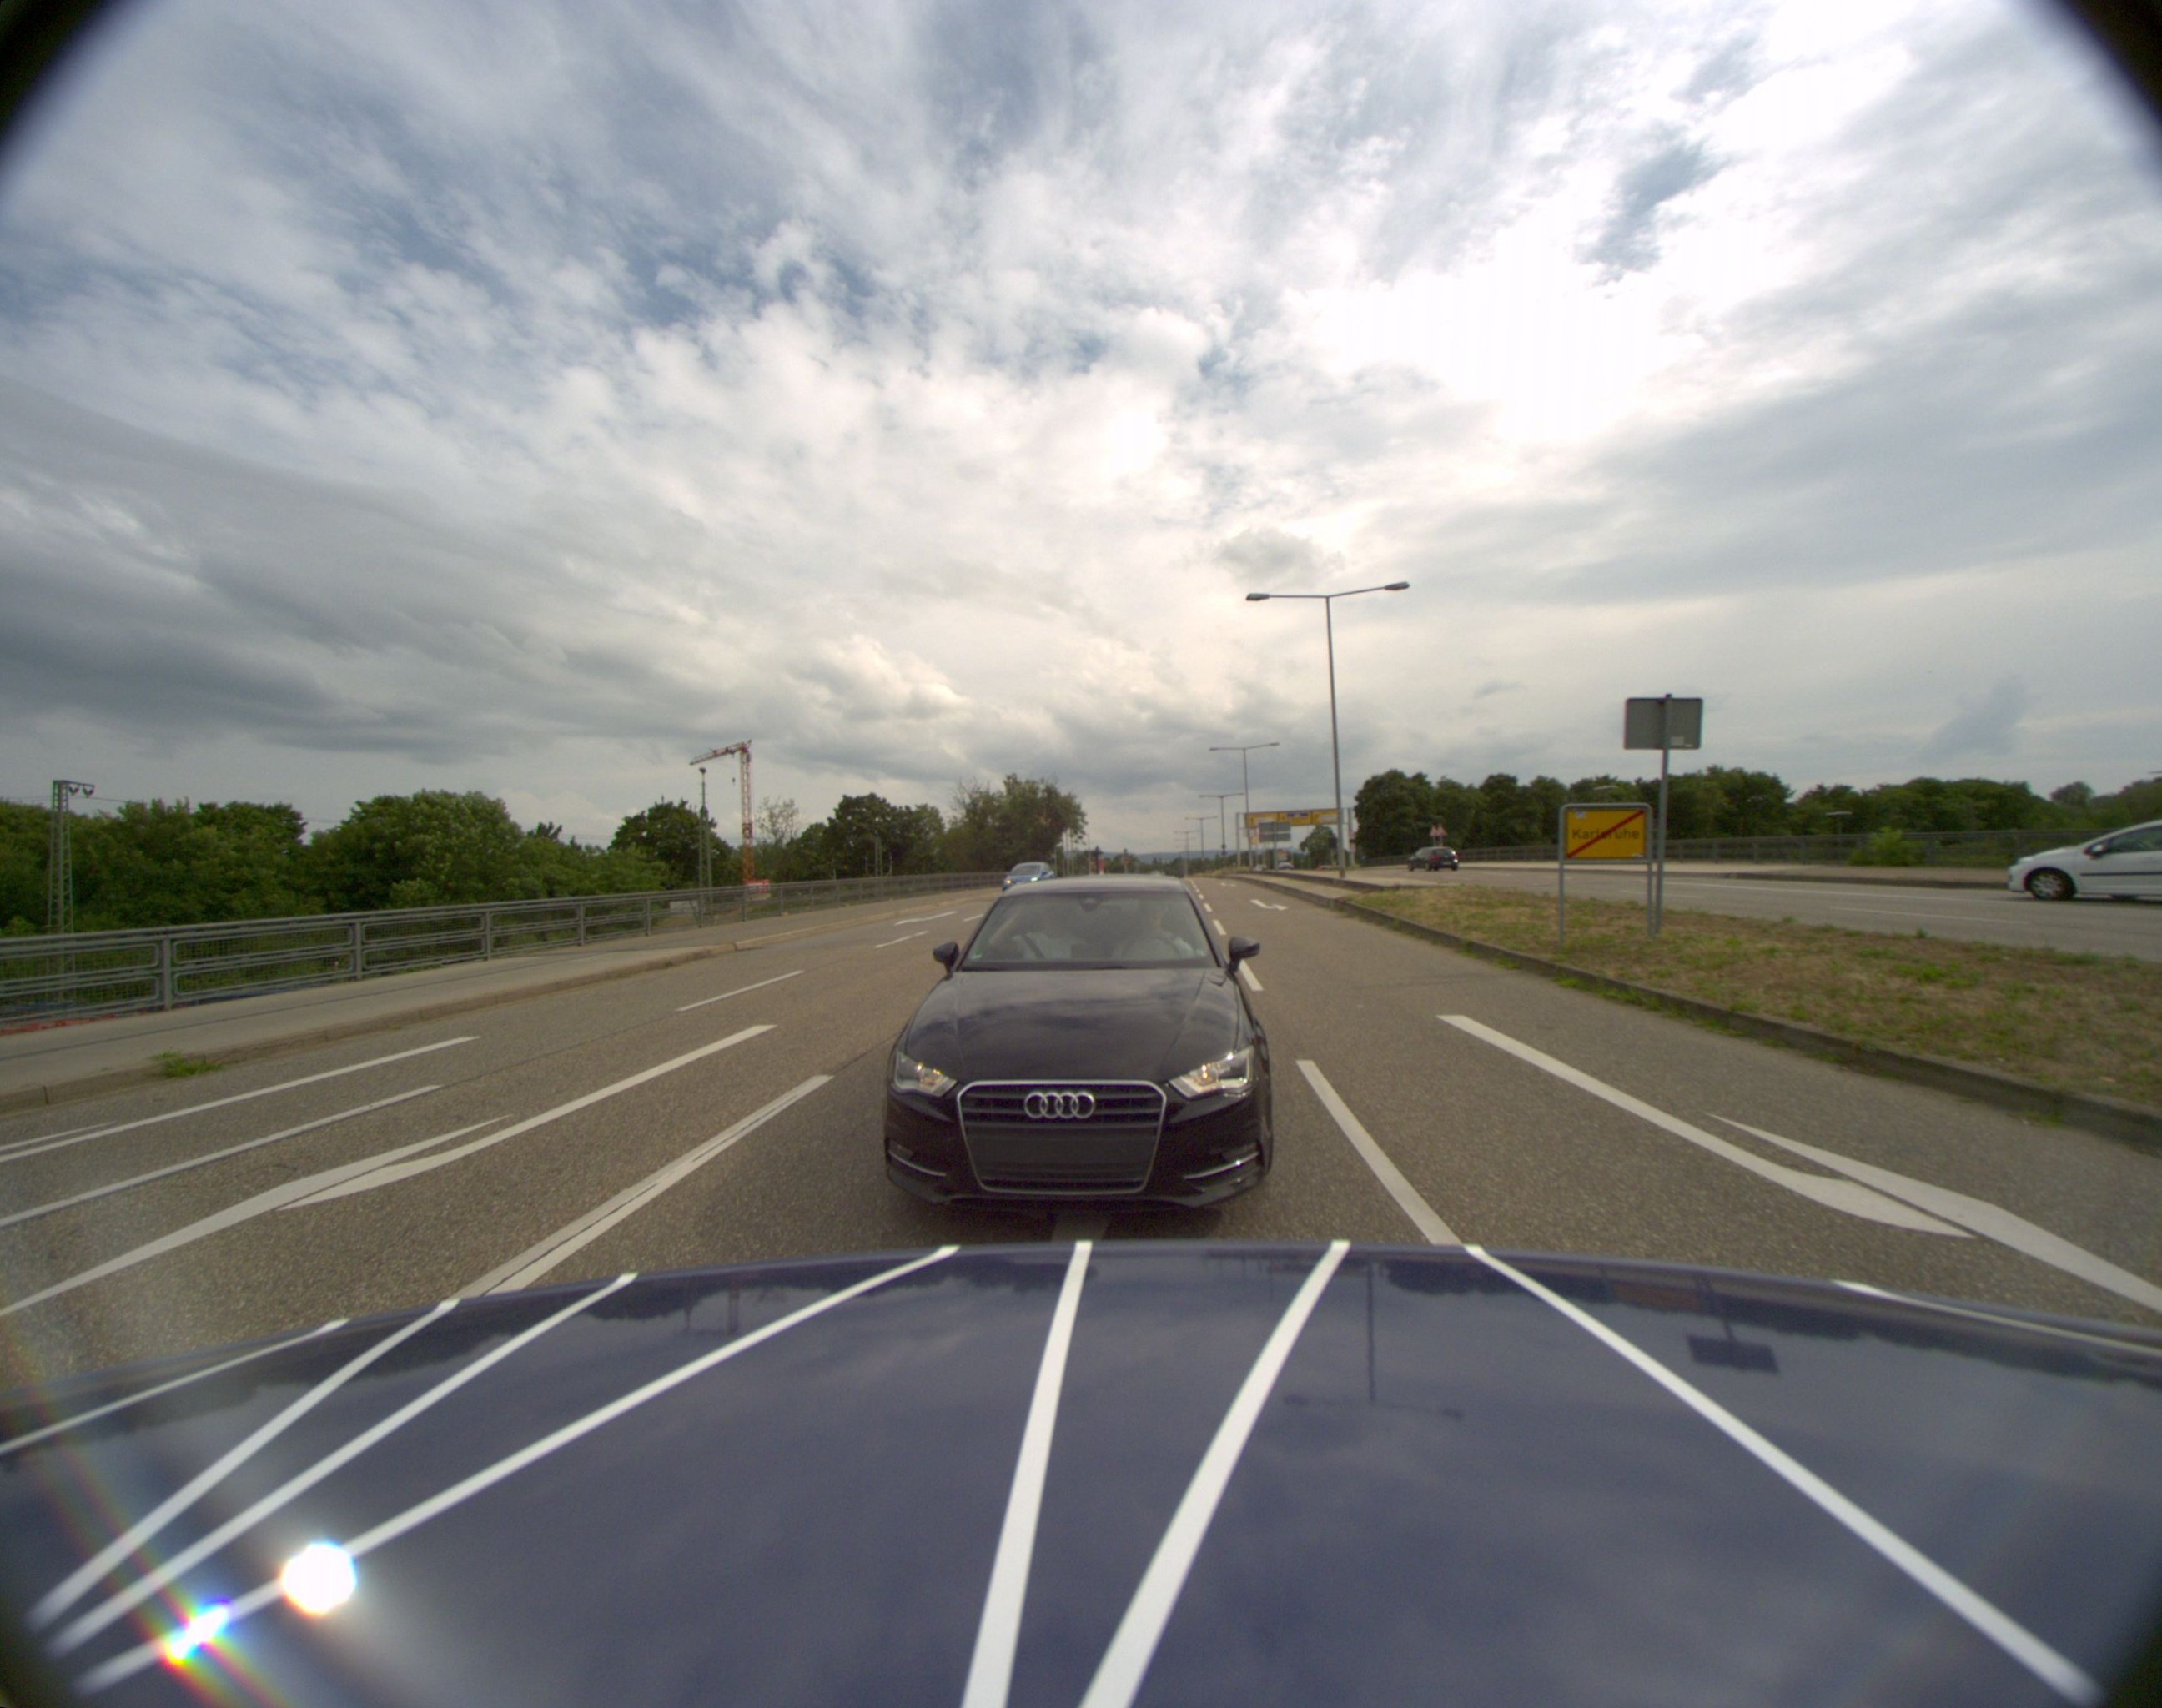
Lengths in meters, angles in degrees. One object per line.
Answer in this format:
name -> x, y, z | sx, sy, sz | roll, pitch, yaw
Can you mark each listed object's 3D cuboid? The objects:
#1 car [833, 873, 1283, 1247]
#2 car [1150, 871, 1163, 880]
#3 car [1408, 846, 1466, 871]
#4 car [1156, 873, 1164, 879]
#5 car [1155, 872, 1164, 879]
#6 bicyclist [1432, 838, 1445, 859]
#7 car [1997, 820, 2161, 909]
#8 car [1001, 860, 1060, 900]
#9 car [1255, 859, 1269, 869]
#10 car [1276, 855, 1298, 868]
car -> 0.155, 0.929, 5.528 | 1.851, 1.355, 4.731 | -2, 0, 7
car -> 12.447, 3.555, 125.217 | 1.860, 1.335, 4.002 | -2, 0, 7
car -> 21.476, 0.251, 46.004 | 1.796, 1.410, 4.001 | -2, 0, 4
car -> 21.236, 5.899, 204.135 | 1.860, 1.335, 4.002 | -2, 0, 7
car -> 18.135, 5.021, 176.046 | 1.860, 1.335, 4.002 | -2, 0, 7
bicyclist -> 28.561, -0.440, 60.727 | 0.685, 1.662, 0.848 | -3, 0, 8
car -> 18.511, 0.153, 12.630 | 1.731, 1.437, 3.874 | -2, 1, -6
car -> -2.182, 1.102, 33.933 | 1.724, 1.512, 3.952 | -4, 0, 9
car -> 26.441, 1.417, 111.047 | 1.619, 1.402, 3.862 | -1, 0, 6
car -> 24.840, 0.849, 91.688 | 1.825, 1.438, 4.354 | -2, 0, 5
